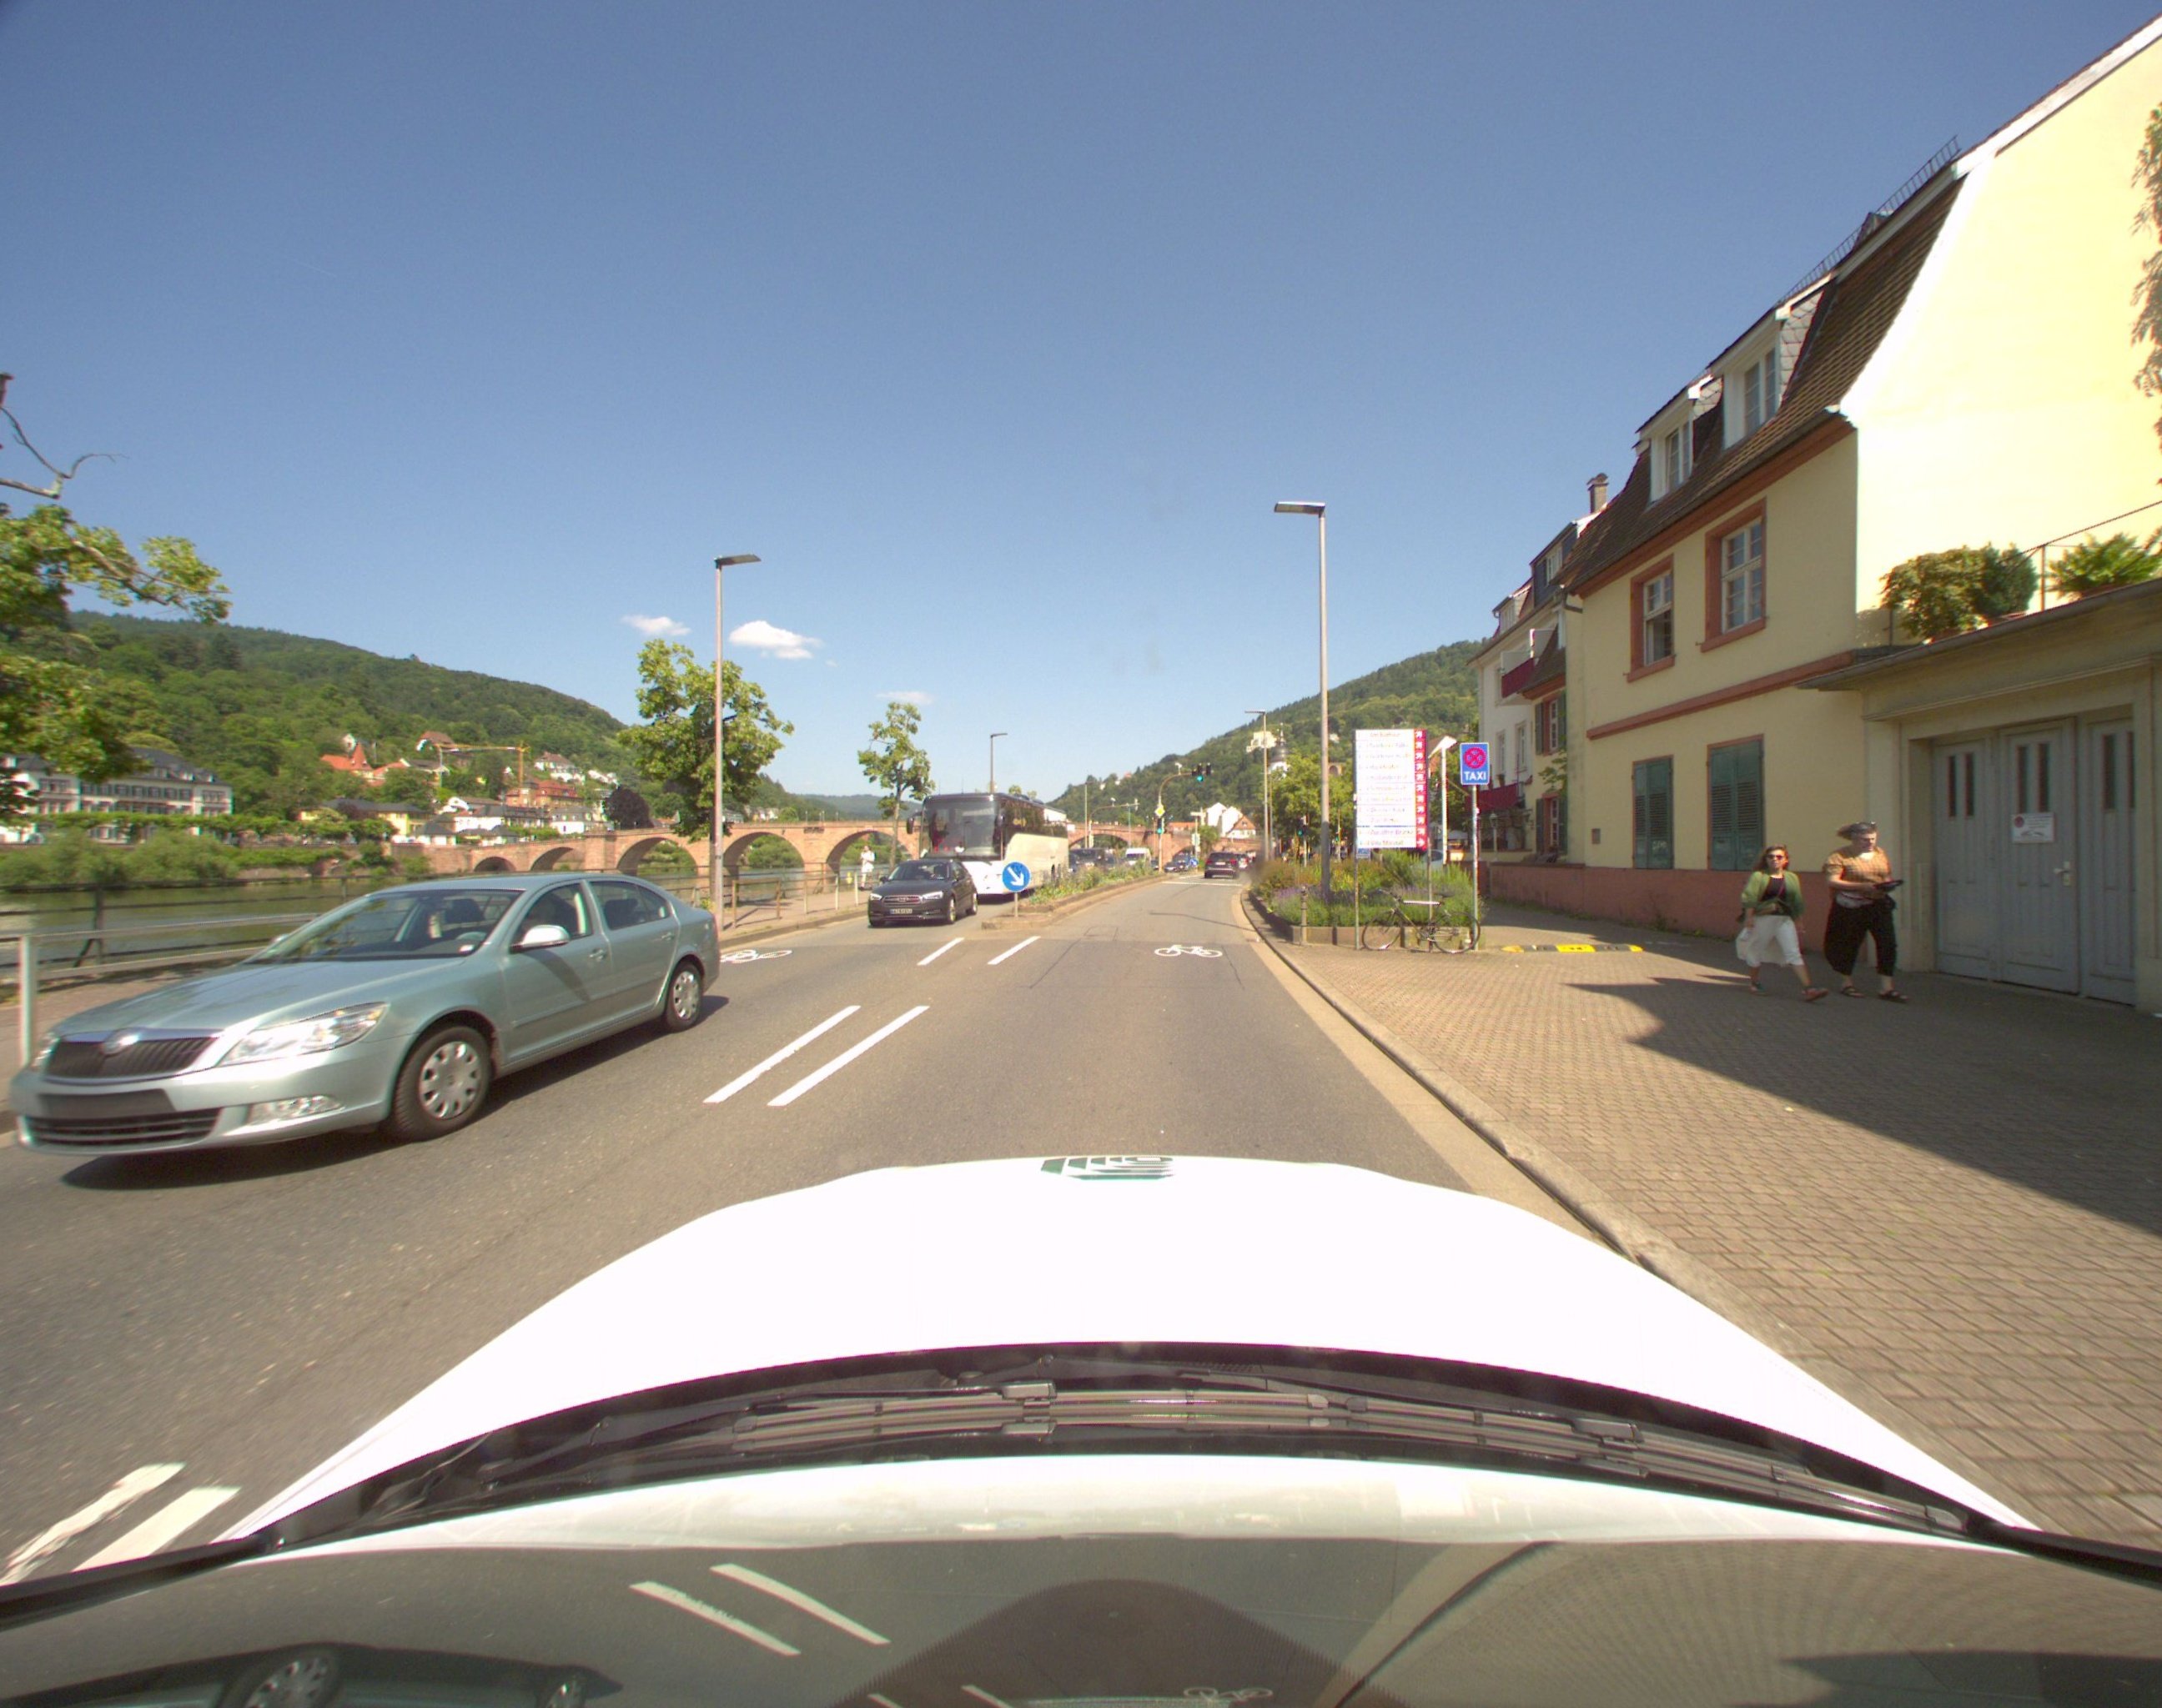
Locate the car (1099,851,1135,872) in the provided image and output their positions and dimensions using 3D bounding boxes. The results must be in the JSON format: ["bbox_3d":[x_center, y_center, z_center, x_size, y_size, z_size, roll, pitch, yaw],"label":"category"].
[{"bbox_3d":[2.718,0.578,60.558,1.939,1.409,4.584,-3,-1,11],"label":"car"}]

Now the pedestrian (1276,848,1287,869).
[{"bbox_3d":[15.880,0.344,64.599,0.690,1.677,0.765,-2,0,4],"label":"pedestrian"}]

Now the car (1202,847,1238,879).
[{"bbox_3d":[7.814,0.450,45.685,1.915,1.553,4.846,1,2,10],"label":"car"}]

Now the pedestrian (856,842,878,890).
[{"bbox_3d":[-7.983,0.432,30.387,0.617,1.780,0.663,0,0,4],"label":"pedestrian"}]

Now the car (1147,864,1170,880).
[{"bbox_3d":[7.951,1.792,83.043,1.807,1.456,4.944,-3,-1,11],"label":"car"}]

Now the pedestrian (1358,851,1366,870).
[{"bbox_3d":[22.787,0.503,66.047,0.457,1.517,0.691,1,0,4],"label":"pedestrian"}]

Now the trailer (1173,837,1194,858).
[{"bbox_3d":[16.954,-1.006,134.619,2.640,3.403,8.855,0,0,12],"label":"trailer"}]

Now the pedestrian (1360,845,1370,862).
[{"bbox_3d":[22.902,-0.038,65.738,0.623,1.382,0.542,2,0,4],"label":"pedestrian"}]

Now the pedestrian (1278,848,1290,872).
[{"bbox_3d":[15.908,0.469,63.861,0.690,1.771,0.765,-2,0,4],"label":"pedestrian"}]

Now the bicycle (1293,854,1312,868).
[{"bbox_3d":[18.887,0.612,69.410,1.476,1.120,0.379,-2,-1,6],"label":"bicycle"}]

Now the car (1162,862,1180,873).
[{"bbox_3d":[11.875,1.808,107.128,1.939,1.413,4.232,-3,-2,12],"label":"car"}]

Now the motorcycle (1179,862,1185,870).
[{"bbox_3d":[14.717,1.810,118.866,0.753,1.131,2.462,0,0,9],"label":"motorcycle"}]

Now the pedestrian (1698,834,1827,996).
[{"bbox_3d":[6.992,0.596,8.390,0.758,1.595,0.696,0,0,4],"label":"pedestrian"}]

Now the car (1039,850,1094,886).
[{"bbox_3d":[-0.648,0.681,41.809,1.982,1.598,5.168,-3,-1,8],"label":"car"}]

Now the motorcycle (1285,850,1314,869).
[{"bbox_3d":[18.157,0.471,67.790,0.768,1.465,2.272,0,-2,-37],"label":"motorcycle"}]

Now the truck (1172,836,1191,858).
[{"bbox_3d":[16.217,-1.064,131.177,2.640,3.403,4.464,0,0,12],"label":"truck"}]

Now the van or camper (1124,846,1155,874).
[{"bbox_3d":[5.448,0.569,75.176,1.980,2.450,5.513,-2,-1,13],"label":"van or camper"}]

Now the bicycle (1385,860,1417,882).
[{"bbox_3d":[14.663,0.780,37.376,0.747,0.964,1.781,0,-1,-1],"label":"bicycle"}]

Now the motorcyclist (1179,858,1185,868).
[{"bbox_3d":[14.713,1.254,118.865,0.731,1.470,1.014,0,-1,9],"label":"motorcyclist"}]

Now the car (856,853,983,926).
[{"bbox_3d":[-3.508,0.717,18.520,1.809,1.429,4.196,-1,0,3],"label":"car"}]

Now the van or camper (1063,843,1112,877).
[{"bbox_3d":[0.432,0.372,48.192,1.981,1.873,5.194,-1,-1,10],"label":"van or camper"}]

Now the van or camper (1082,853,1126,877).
[{"bbox_3d":[1.588,0.703,53.357,1.980,1.477,5.081,-2,-1,12],"label":"van or camper"}]

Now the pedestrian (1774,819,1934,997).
[{"bbox_3d":[7.836,0.521,8.307,0.734,1.698,0.934,-1,0,4],"label":"pedestrian"}]

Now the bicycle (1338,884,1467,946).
[{"bbox_3d":[5.011,0.946,12.729,1.804,0.878,0.502,2,0,0],"label":"bicycle"}]

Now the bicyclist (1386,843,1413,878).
[{"bbox_3d":[14.668,0.301,37.542,0.764,1.583,1.088,0,-1,-2],"label":"bicyclist"}]

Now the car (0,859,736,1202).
[{"bbox_3d":[-4.364,0.813,5.806,1.807,1.428,4.312,-2,0,2],"label":"car"}]

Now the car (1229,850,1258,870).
[{"bbox_3d":[12.266,0.405,61.679,1.916,1.461,4.843,0,0,8],"label":"car"}]

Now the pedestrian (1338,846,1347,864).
[{"bbox_3d":[24.060,0.096,74.840,0.703,1.653,0.709,-1,0,12],"label":"pedestrian"}]

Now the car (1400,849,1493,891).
[{"bbox_3d":[14.671,0.601,32.993,1.869,1.577,4.731,0,0,3],"label":"car"}]

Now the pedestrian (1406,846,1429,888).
[{"bbox_3d":[15.197,0.600,36.790,0.758,1.858,0.610,-2,0,4],"label":"pedestrian"}]

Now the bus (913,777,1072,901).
[{"bbox_3d":[-2.659,-0.325,30.010,2.616,3.564,13.012,0,-1,8],"label":"bus"}]
